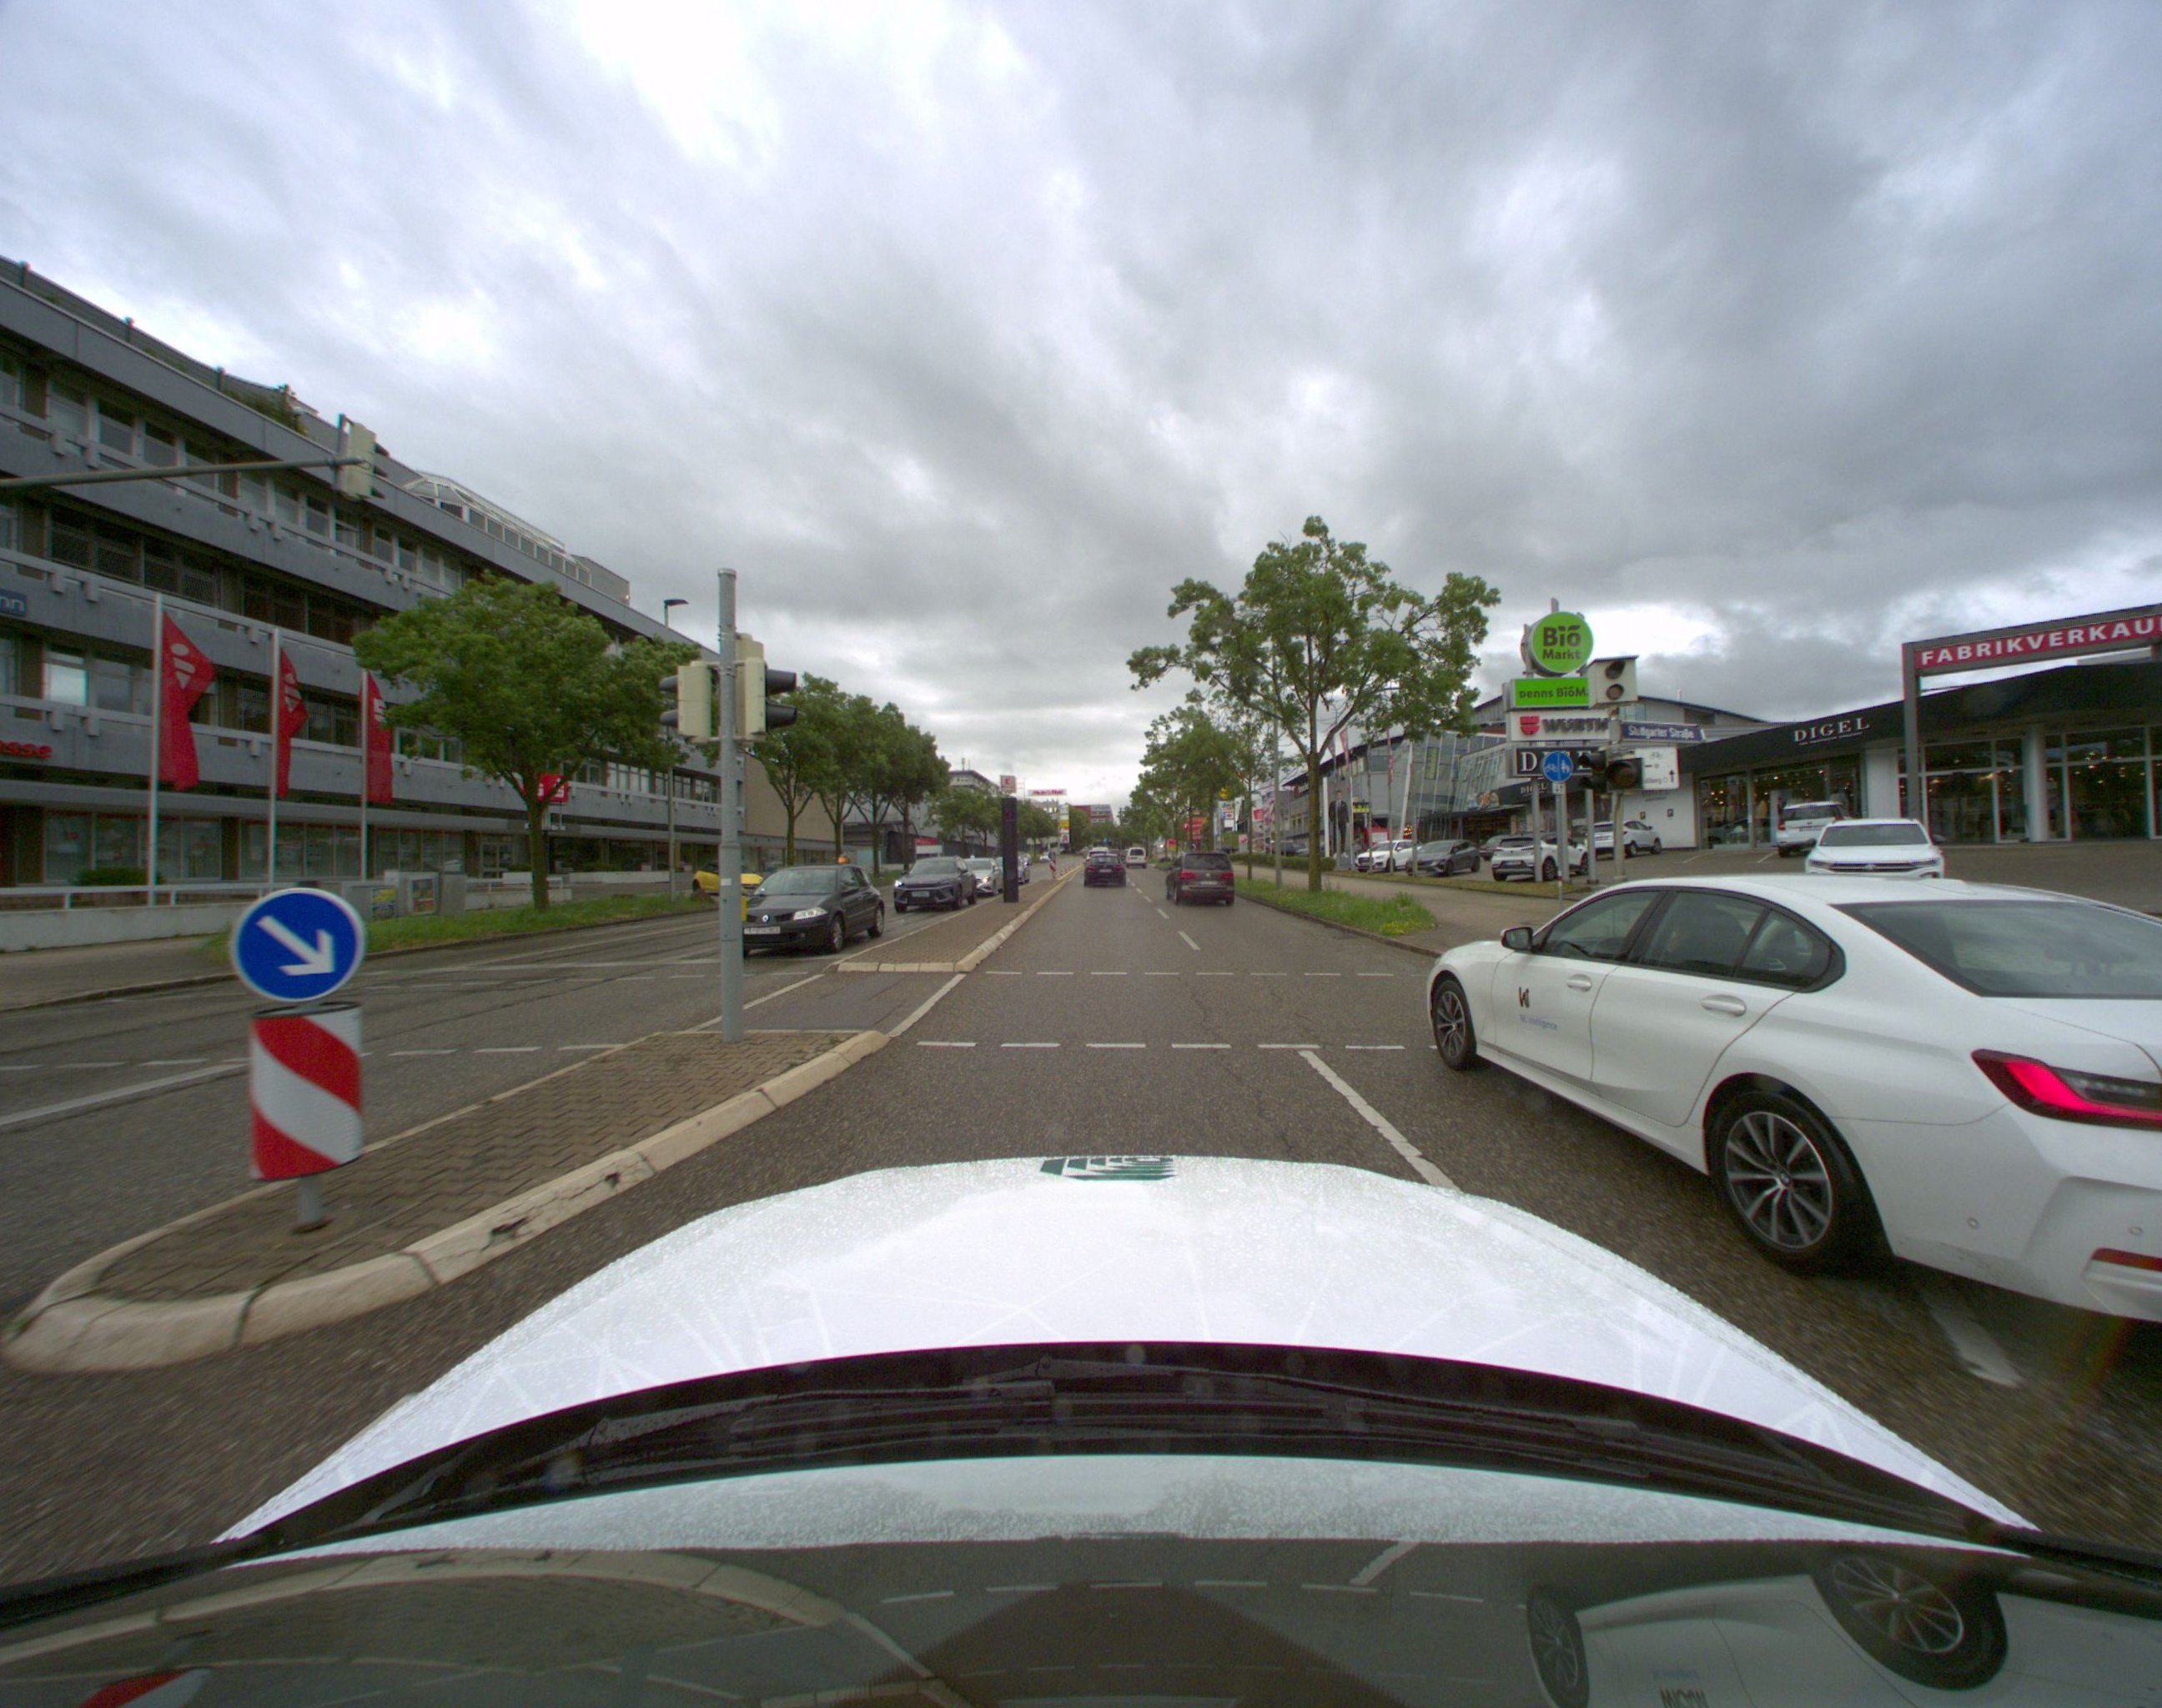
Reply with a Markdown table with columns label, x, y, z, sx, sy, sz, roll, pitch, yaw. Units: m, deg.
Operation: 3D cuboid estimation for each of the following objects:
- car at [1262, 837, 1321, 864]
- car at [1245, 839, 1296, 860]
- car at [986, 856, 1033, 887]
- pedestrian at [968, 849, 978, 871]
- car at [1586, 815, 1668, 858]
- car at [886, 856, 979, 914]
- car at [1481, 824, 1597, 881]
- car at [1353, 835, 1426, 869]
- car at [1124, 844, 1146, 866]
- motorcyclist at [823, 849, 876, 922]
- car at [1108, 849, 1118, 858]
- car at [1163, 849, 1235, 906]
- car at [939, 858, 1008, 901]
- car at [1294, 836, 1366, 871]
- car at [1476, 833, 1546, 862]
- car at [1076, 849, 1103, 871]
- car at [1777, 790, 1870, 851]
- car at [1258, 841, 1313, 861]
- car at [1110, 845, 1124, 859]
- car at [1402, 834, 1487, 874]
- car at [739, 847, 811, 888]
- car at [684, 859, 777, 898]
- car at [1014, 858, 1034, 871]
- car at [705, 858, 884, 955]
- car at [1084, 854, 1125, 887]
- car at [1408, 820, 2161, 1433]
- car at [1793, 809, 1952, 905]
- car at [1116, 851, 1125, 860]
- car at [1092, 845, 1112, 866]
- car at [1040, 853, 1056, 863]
| label | x | y | z | sx | sy | sz | roll | pitch | yaw |
| --- | --- | --- | --- | --- | --- | --- | --- | --- | --- |
| car | 16.210 | -0.248 | 62.801 | 4.093 | 1.904 | 1.801 | -2 | 0 | 3 |
| car | 16.308 | -0.344 | 70.120 | 4.088 | 1.703 | 1.803 | -1 | 0 | 8 |
| car | -3.584 | 0.860 | 41.571 | 1.716 | 1.398 | 4.791 | -4 | 0 | 2 |
| pedestrian | -10.967 | 0.560 | 82.751 | 0.856 | 2.218 | 0.846 | -1 | 0 | -1 |
| car | 24.284 | -0.758 | 36.166 | 4.174 | 1.771 | 1.718 | -1 | 0 | -38 |
| car | -4.250 | 0.829 | 24.091 | 1.738 | 1.489 | 4.830 | -2 | 0 | 1 |
| car | 15.522 | -0.060 | 27.537 | 4.046 | 1.663 | 1.960 | -4 | 1 | -37 |
| car | 15.550 | -0.105 | 40.999 | 3.616 | 1.536 | 1.776 | -2 | 0 | -37 |
| car | 4.780 | 0.131 | 72.455 | 1.775 | 1.866 | 4.002 | -2 | 0 | 2 |
| motorcyclist | -5.206 | 0.684 | 18.384 | 0.804 | 1.559 | 1.267 | -1 | 0 | 0 |
| car | 5.384 | -0.128 | 136.650 | 1.588 | 1.474 | 3.445 | 0 | -1 | 1 |
| car | 3.573 | 0.659 | 25.267 | 1.794 | 1.587 | 4.454 | 1 | 0 | 3 |
| car | -4.026 | 0.902 | 31.315 | 1.834 | 1.377 | 4.863 | -4 | 0 | 1 |
| car | 15.832 | -0.030 | 51.916 | 4.093 | 2.106 | 1.801 | -1 | 0 | 3 |
| car | 24.529 | -0.379 | 46.424 | 4.174 | 1.468 | 1.811 | -2 | 0 | -36 |
| car | 0.541 | 0.422 | 55.080 | 1.677 | 1.377 | 3.998 | -2 | 0 | -1 |
| car | 24.203 | -1.045 | 26.489 | 4.176 | 1.771 | 1.717 | -1 | 0 | -41 |
| car | 16.474 | -0.236 | 65.821 | 4.088 | 1.536 | 1.803 | -1 | 0 | 8 |
| car | 4.627 | -0.251 | 103.514 | 1.678 | 1.684 | 3.405 | 0 | -1 | 3 |
| car | 14.881 | -0.015 | 33.310 | 3.616 | 1.536 | 1.625 | -1 | 0 | -37 |
| car | -15.673 | 0.692 | 41.939 | 1.985 | 2.014 | 4.003 | 0 | -1 | 3 |
| car | -15.227 | 1.074 | 35.318 | 3.948 | 1.552 | 1.912 | -2 | 0 | 36 |
| car | -6.687 | 1.249 | 95.857 | 1.936 | 1.453 | 4.001 | -1 | 0 | 1 |
| car | -4.701 | 0.774 | 13.997 | 1.677 | 1.377 | 3.998 | -2 | 0 | -1 |
| car | 1.082 | 0.708 | 37.063 | 1.775 | 1.398 | 4.002 | -1 | 0 | 2 |
| car | 3.479 | 0.713 | 4.354 | 1.794 | 1.544 | 4.623 | 1 | 0 | 2 |
| car | 14.971 | 0.029 | 15.510 | 1.908 | 1.576 | 4.314 | -2 | 0 | 44 |
| car | 7.382 | 0.273 | 151.982 | 1.614 | 1.495 | 3.361 | 0 | -1 | 1 |
| car | 2.114 | 0.180 | 80.876 | 1.986 | 2.014 | 4.002 | 0 | -1 | 2 |
| car | -4.748 | 0.552 | 116.797 | 1.936 | 1.448 | 4.001 | -1 | 0 | 1 |
